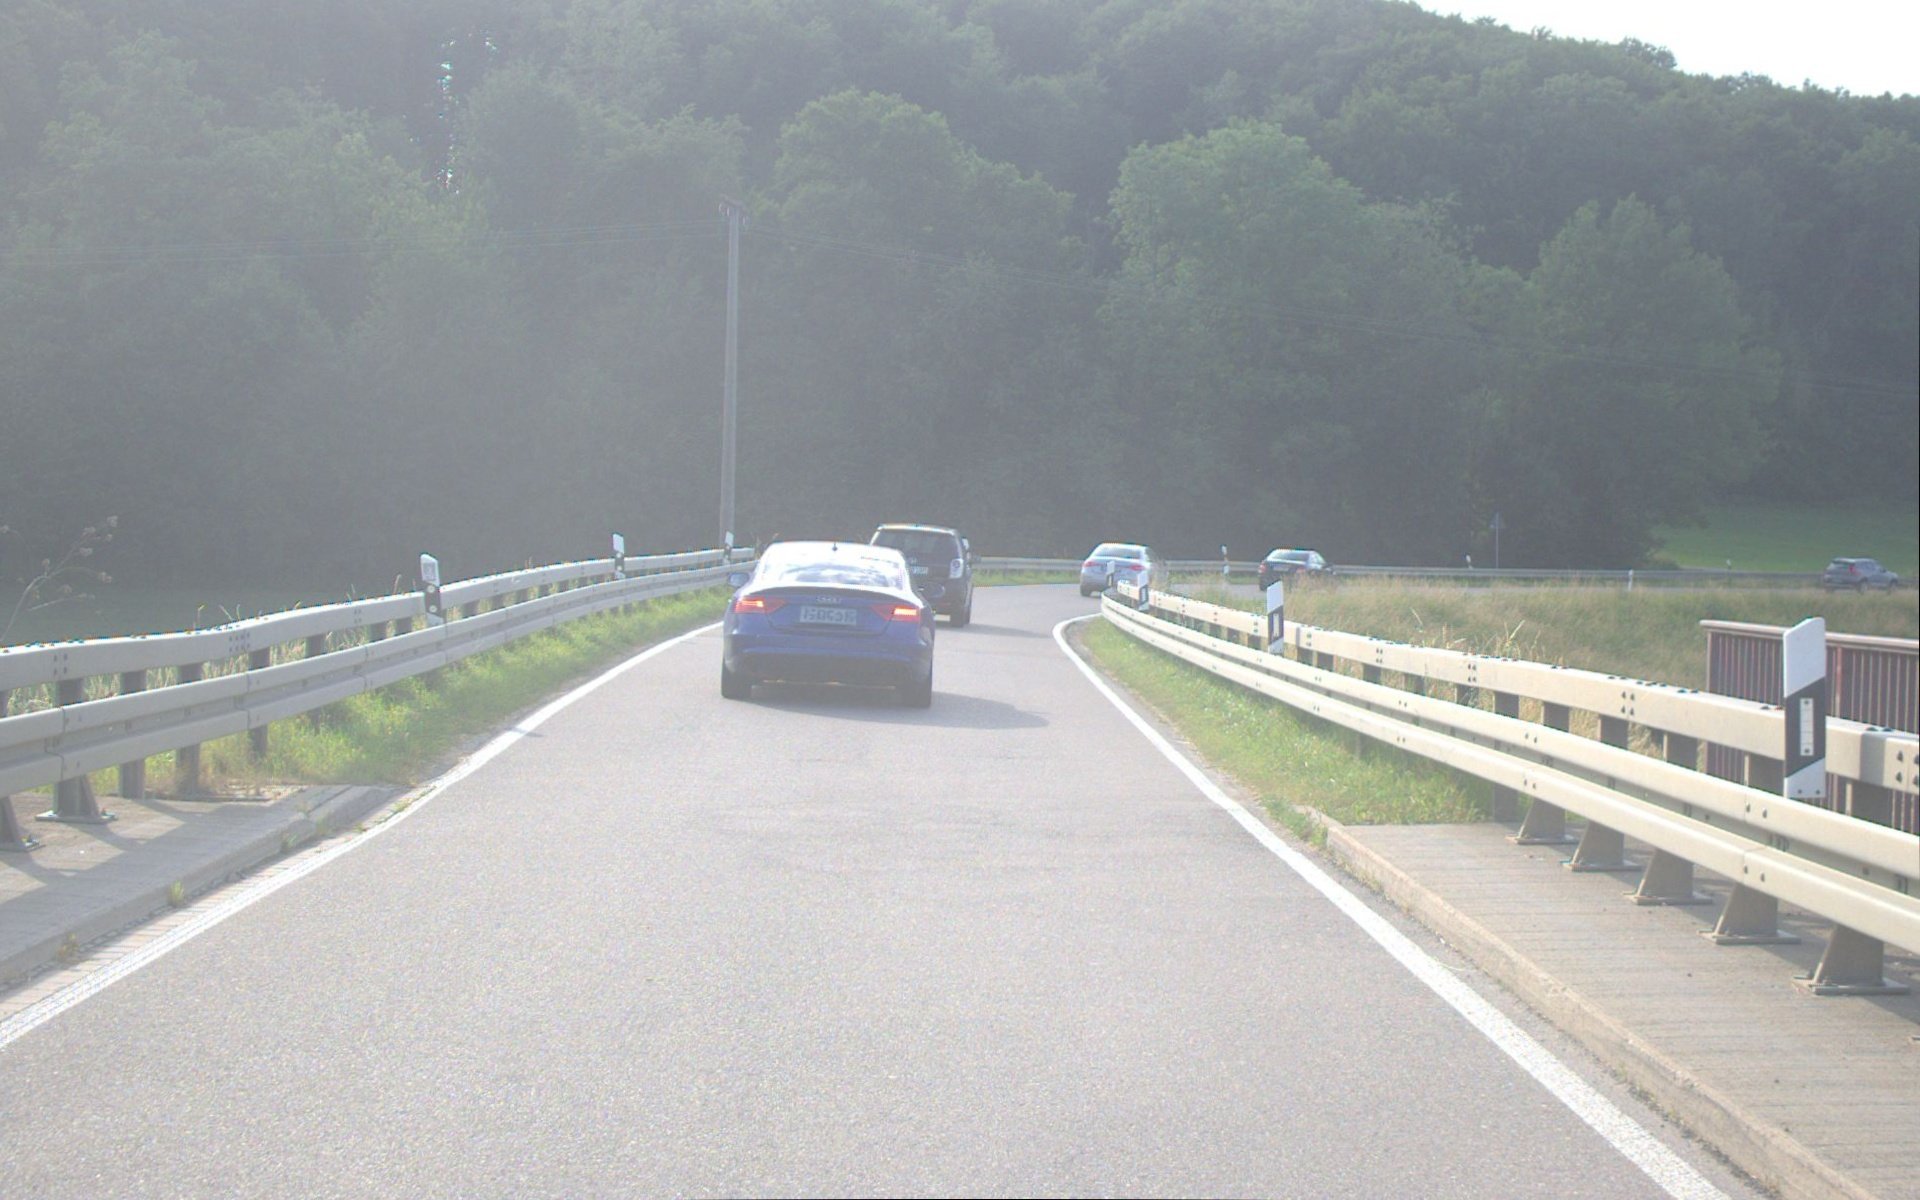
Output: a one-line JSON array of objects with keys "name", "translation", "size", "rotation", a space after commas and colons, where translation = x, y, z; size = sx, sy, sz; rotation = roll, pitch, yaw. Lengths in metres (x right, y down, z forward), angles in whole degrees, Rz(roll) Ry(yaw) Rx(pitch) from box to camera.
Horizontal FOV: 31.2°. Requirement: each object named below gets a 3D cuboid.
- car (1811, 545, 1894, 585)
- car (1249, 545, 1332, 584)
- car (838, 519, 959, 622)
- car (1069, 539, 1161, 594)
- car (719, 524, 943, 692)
[{"name": "car", "translation": [41.046, -1.599, 158.094], "size": [1.998, 1.673, 4.168], "rotation": [4, 2, 40]}, {"name": "car", "translation": [10.799, -1.165, 112.239], "size": [1.473, 1.223, 3.294], "rotation": [2, 1, 29]}, {"name": "car", "translation": [-0.974, -0.504, 56.707], "size": [1.862, 1.563, 4.000], "rotation": [2, 1, 0]}, {"name": "car", "translation": [4.102, -0.898, 90.438], "size": [1.683, 1.371, 3.998], "rotation": [2, 1, 13]}, {"name": "car", "translation": [-1.167, 0.028, 30.818], "size": [1.818, 1.334, 4.351], "rotation": [2, 1, -2]}]
